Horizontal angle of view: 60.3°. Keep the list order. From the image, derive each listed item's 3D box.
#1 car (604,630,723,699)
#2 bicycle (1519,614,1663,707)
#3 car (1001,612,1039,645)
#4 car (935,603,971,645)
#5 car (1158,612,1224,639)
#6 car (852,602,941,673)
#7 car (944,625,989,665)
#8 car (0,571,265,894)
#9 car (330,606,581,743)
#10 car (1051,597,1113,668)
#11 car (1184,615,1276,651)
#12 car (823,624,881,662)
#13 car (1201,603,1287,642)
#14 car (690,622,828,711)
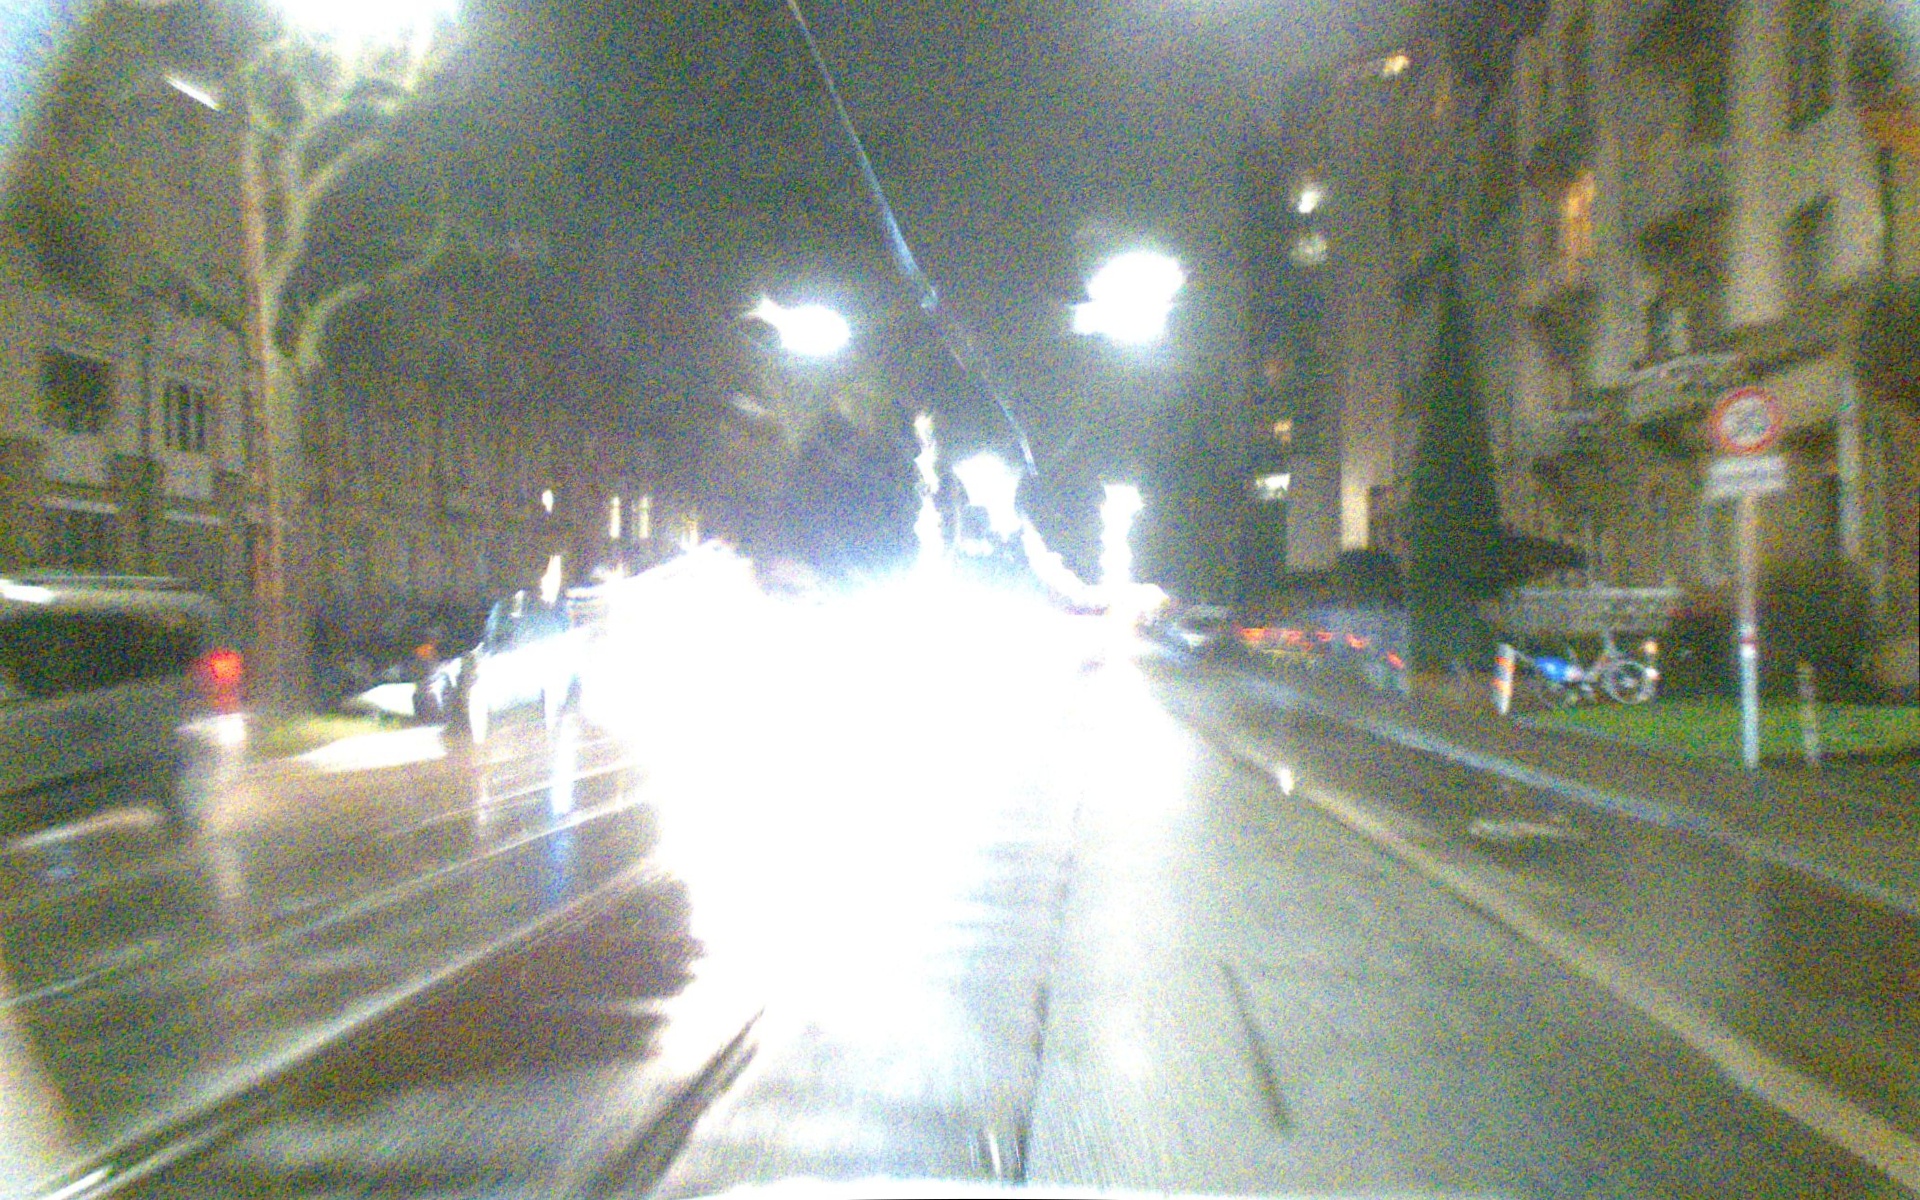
[{"bbox_3d":[-6.728,1.438,37.937,1.728,1.431,4.143,1,-1,3],"label":"car"},{"bbox_3d":[8.948,0.855,23.502,1.776,1.184,0.493,-4,-2,3],"label":"bicycle"},{"bbox_3d":[3.581,1.681,98.244,1.897,1.847,4.388,-3,-1,6],"label":"car"},{"bbox_3d":[-0.424,1.516,105.892,1.982,2.543,5.609,1,0,3],"label":"car"},{"bbox_3d":[13.900,1.529,99.459,3.846,1.560,1.798,1,-1,-37],"label":"car"},{"bbox_3d":[-1.810,1.059,48.729,1.885,1.912,4.640,-3,0,6],"label":"car"},{"bbox_3d":[0.292,1.865,68.862,1.617,1.505,4.207,-3,-1,3],"label":"car"},{"bbox_3d":[-6.523,0.826,10.396,1.854,1.902,4.539,-2,-1,8],"label":"car"},{"bbox_3d":[-7.841,1.077,26.342,1.951,1.857,5.312,2,0,5],"label":"car"},{"bbox_3d":[4.416,1.178,60.335,2.170,2.484,5.386,0,-1,3],"label":"car"},{"bbox_3d":[11.380,1.391,69.698,3.750,1.484,1.747,1,-1,-37],"label":"car"},{"bbox_3d":[-4.264,1.723,65.763,1.633,1.411,4.003,1,-2,6],"label":"car"},{"bbox_3d":[14.226,1.139,82.660,4.128,1.871,1.938,2,-1,-37],"label":"car"},{"bbox_3d":[-3.697,1.197,31.037,1.754,1.490,3.903,-1,0,5],"label":"car"}]
